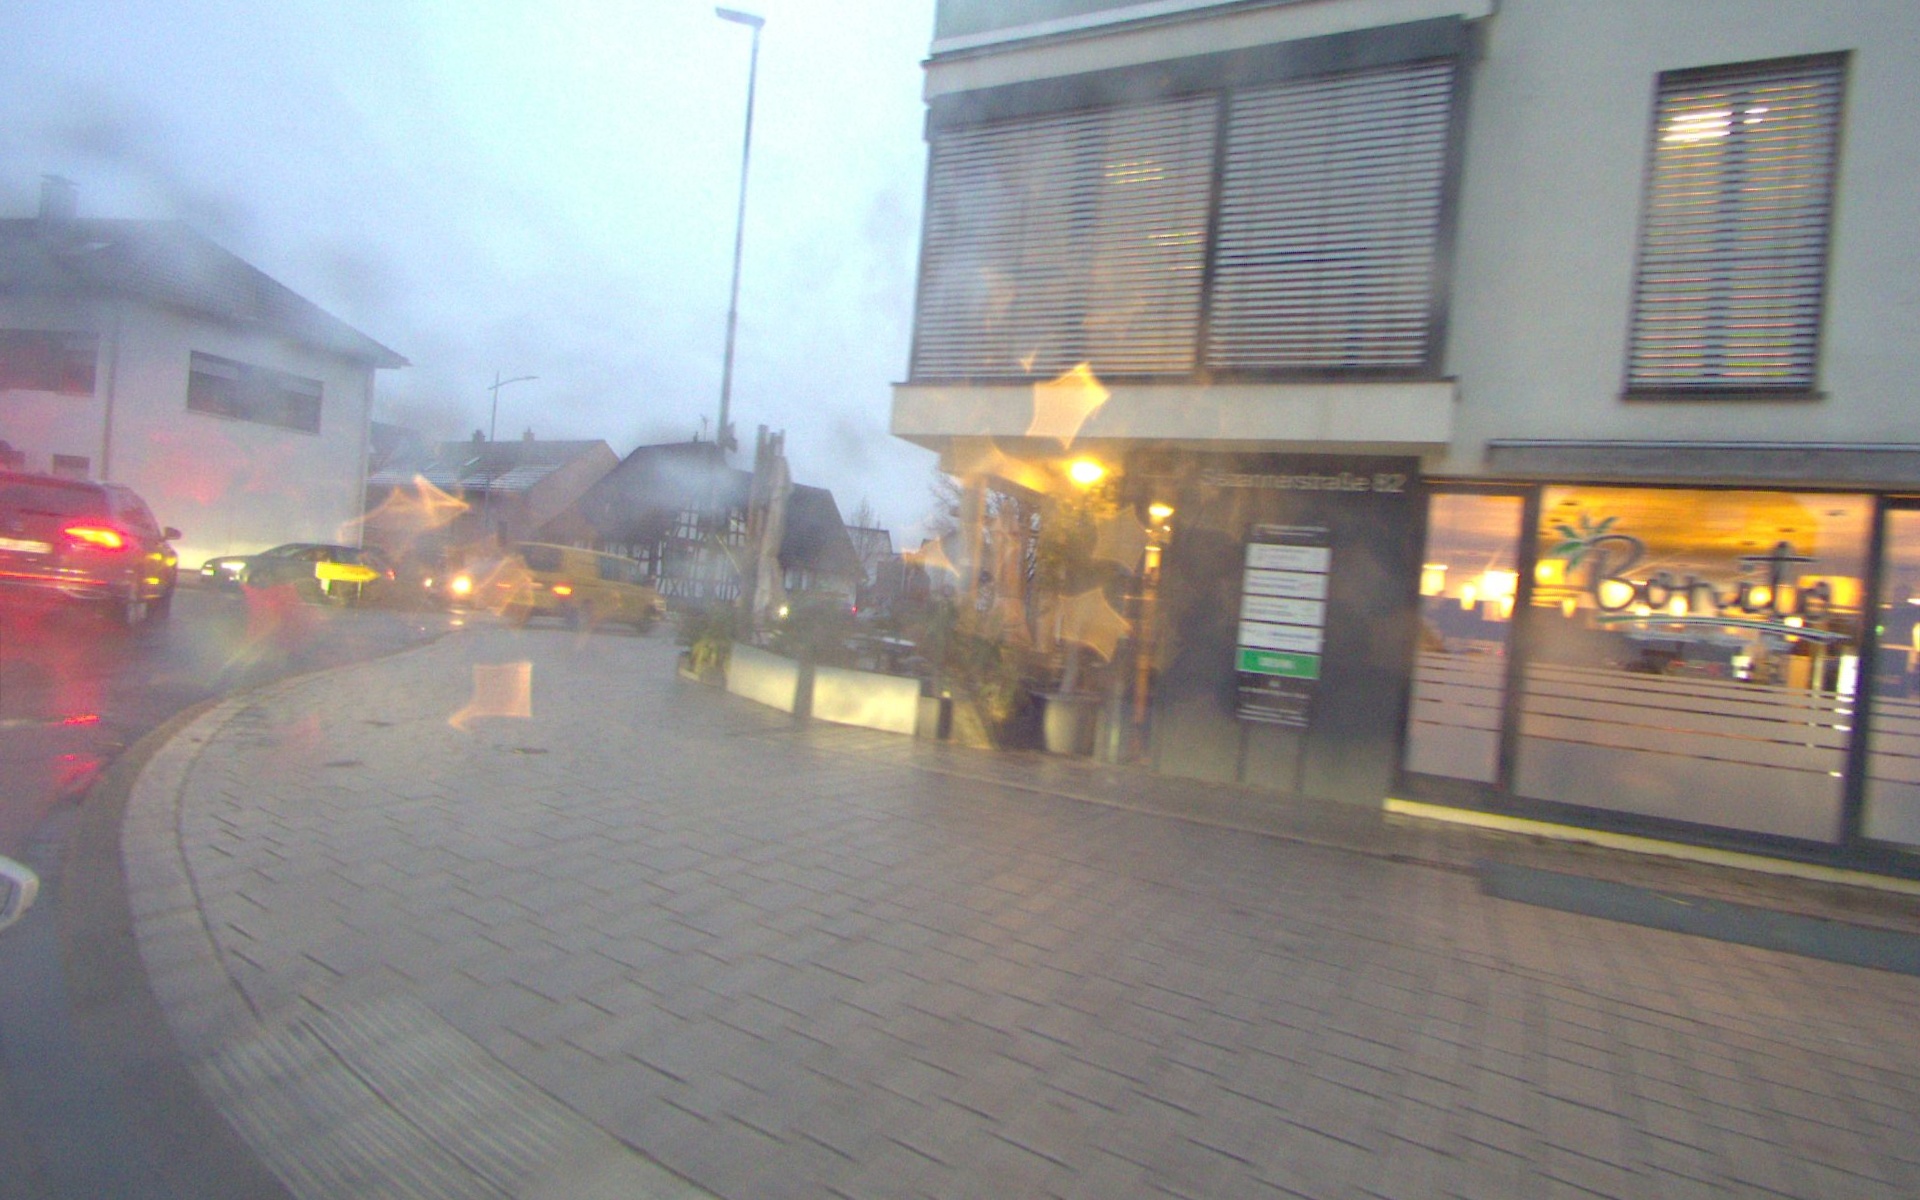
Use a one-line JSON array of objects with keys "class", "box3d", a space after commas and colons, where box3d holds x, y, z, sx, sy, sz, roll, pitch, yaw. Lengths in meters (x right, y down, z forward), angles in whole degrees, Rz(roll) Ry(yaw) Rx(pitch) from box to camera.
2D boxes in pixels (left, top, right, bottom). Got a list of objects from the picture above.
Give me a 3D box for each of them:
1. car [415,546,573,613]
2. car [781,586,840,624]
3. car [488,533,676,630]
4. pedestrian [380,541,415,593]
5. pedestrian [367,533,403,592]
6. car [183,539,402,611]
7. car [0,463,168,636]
[{"class": "car", "box3d": [-13.930, -0.574, 30.294, 1.668, 1.570, 3.994, 5, -2, 29]}, {"class": "car", "box3d": [-6.857, 0.274, 46.505, 1.664, 1.526, 4.260, 5, -1, 5]}, {"class": "car", "box3d": [-9.436, -0.370, 25.641, 1.962, 2.038, 4.902, 6, 0, 13]}, {"class": "pedestrian", "box3d": [-18.645, -1.090, 33.327, 0.574, 1.642, 0.714, 7, 1, 39]}, {"class": "pedestrian", "box3d": [-19.276, -1.242, 33.746, 0.628, 1.855, 0.714, 9, 2, 39]}, {"class": "car", "box3d": [-16.731, -0.573, 25.459, 1.819, 1.400, 4.230, 3, -2, 27]}, {"class": "car", "box3d": [-10.589, -0.646, 11.693, 1.905, 1.635, 3.911, 6, 0, -36]}]
